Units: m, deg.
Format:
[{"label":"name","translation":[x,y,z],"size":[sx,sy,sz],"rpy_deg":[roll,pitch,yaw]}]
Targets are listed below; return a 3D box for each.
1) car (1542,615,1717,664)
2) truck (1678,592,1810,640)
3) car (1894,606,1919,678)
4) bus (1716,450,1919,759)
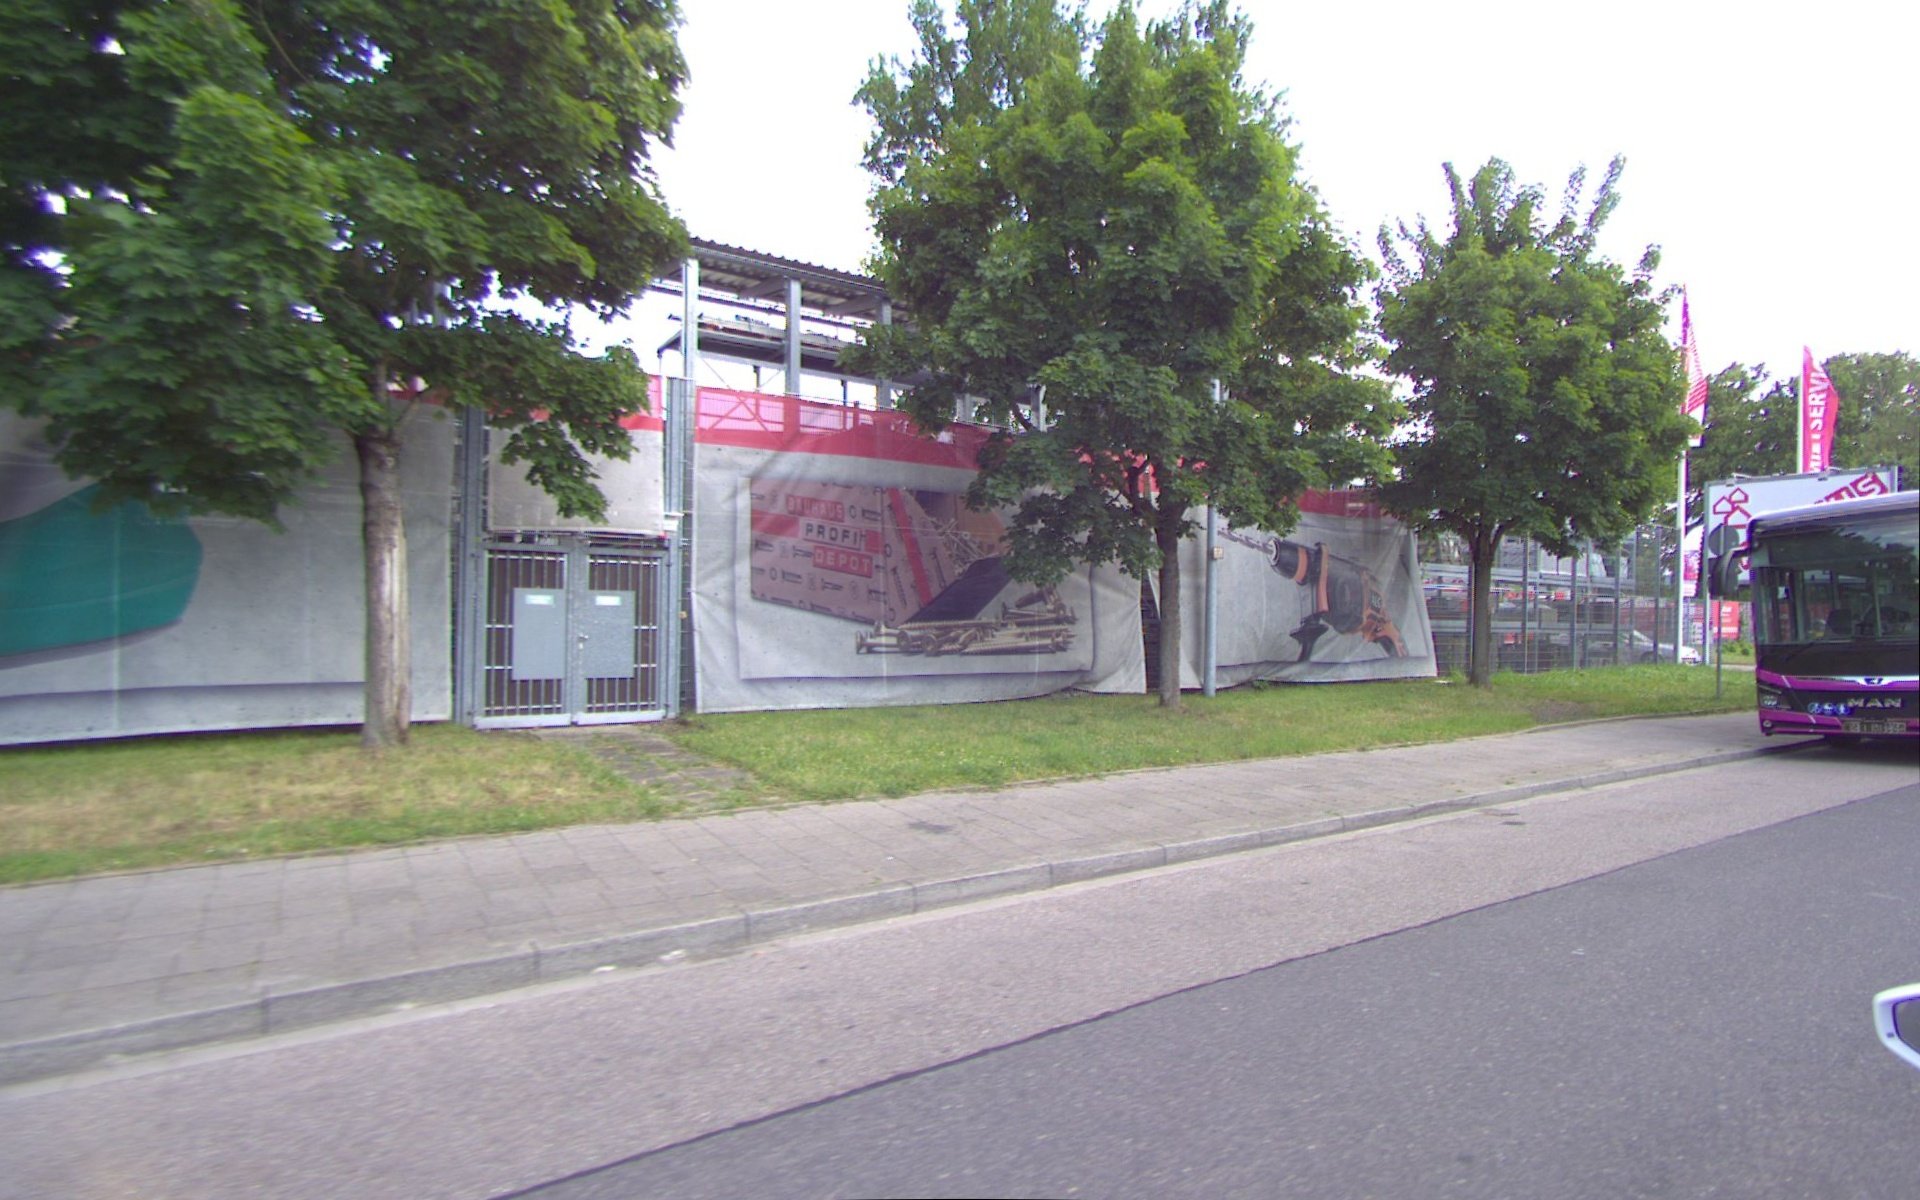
[{"label":"car","translation":[22.917,1.300,34.557],"size":[1.933,1.473,4.657],"rpy_deg":[1,0,-32]},{"label":"truck","translation":[44.913,0.874,57.715],"size":[1.795,2.628,5.724],"rpy_deg":[3,-1,-31]},{"label":"car","translation":[28.159,1.176,26.377],"size":[1.967,1.975,4.980],"rpy_deg":[1,0,-28]},{"label":"bus","translation":[15.877,0.171,15.453],"size":[13.082,3.467,2.647],"rpy_deg":[1,-4,-35]}]
